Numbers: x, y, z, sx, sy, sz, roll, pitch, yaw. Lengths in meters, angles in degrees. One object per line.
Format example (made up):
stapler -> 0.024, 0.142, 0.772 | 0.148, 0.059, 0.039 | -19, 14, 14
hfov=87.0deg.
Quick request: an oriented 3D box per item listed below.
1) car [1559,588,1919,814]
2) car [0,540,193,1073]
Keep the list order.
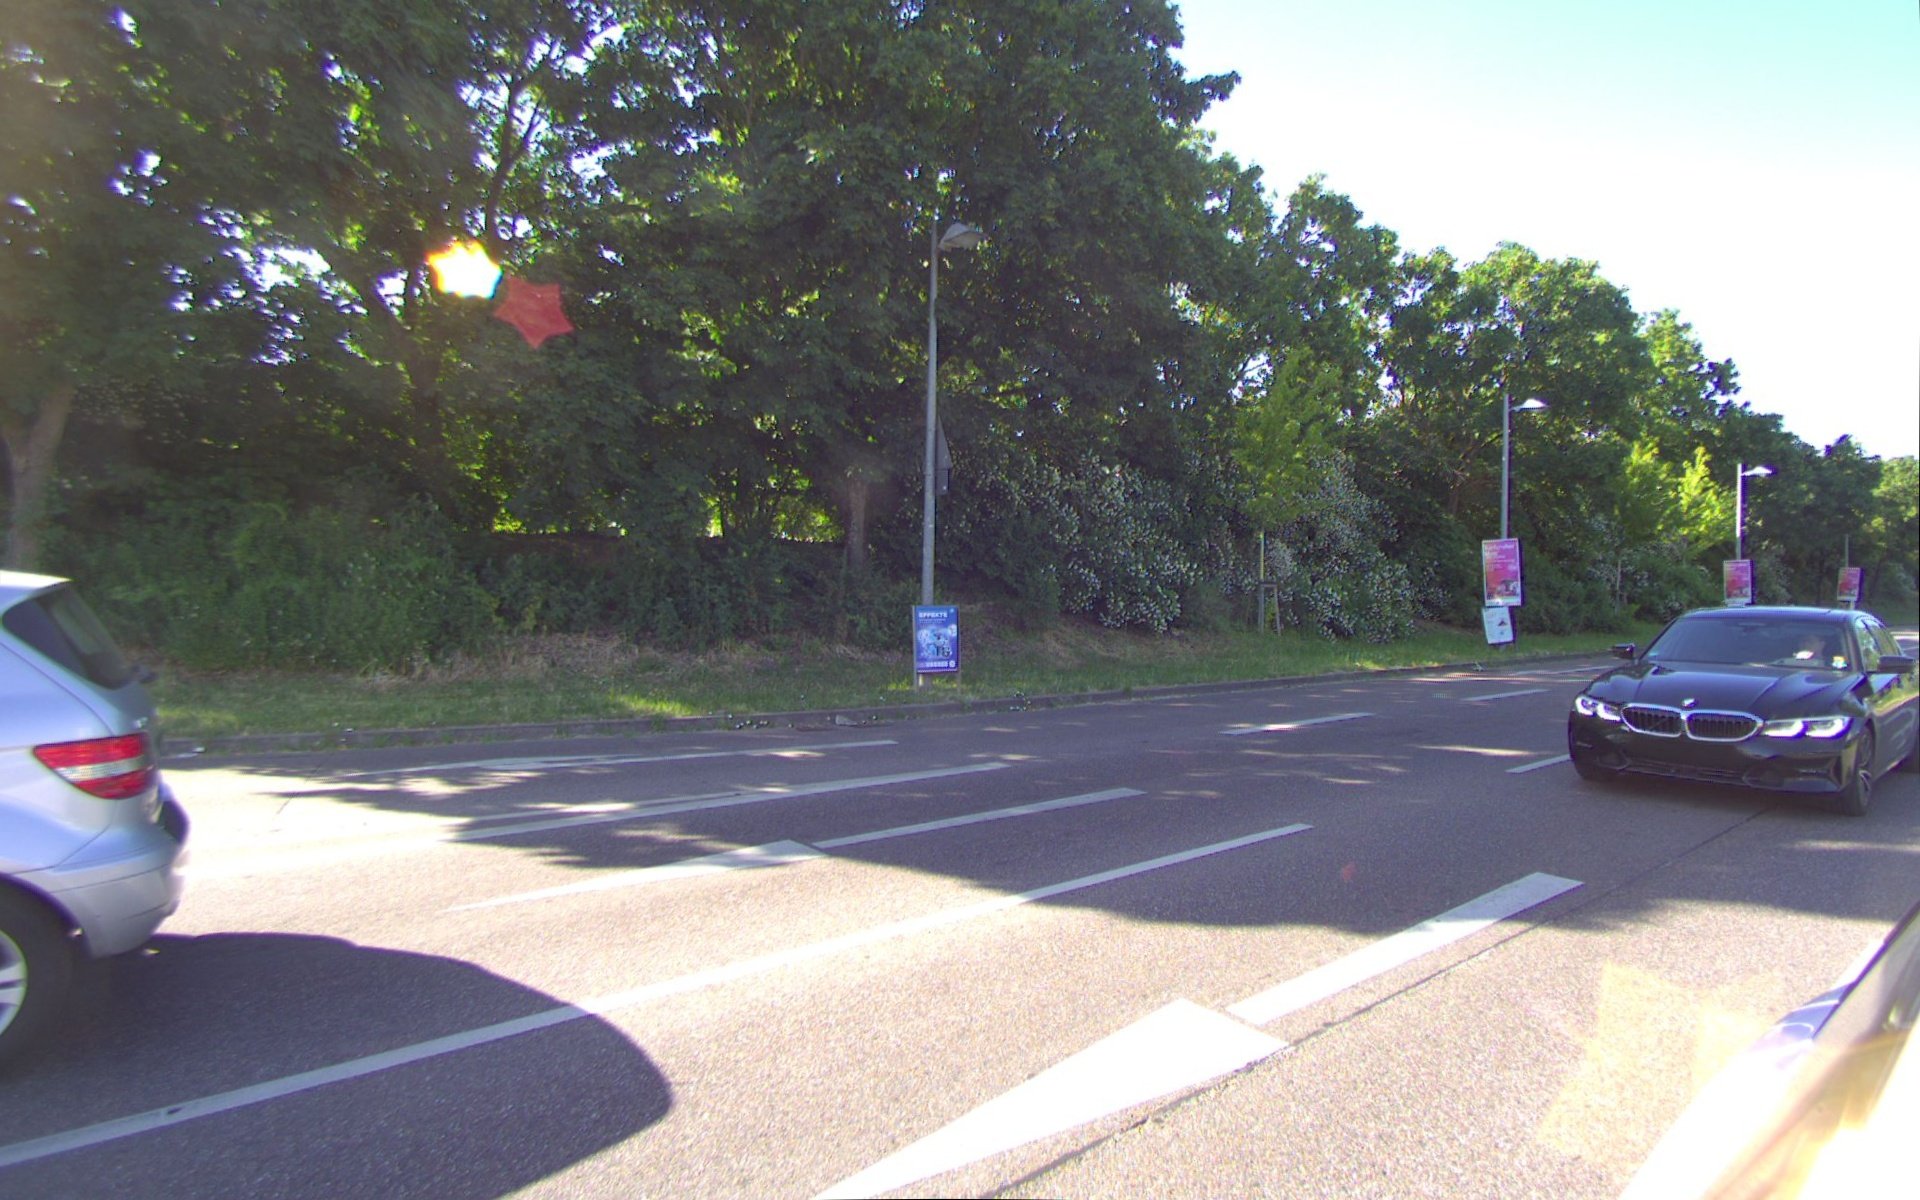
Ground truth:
car -> 6.798, 0.621, 8.501 | 4.143, 1.426, 1.830 | -1, 1, -41
car -> -4.515, 0.589, 2.609 | 3.988, 1.559, 1.672 | 0, 1, -40
